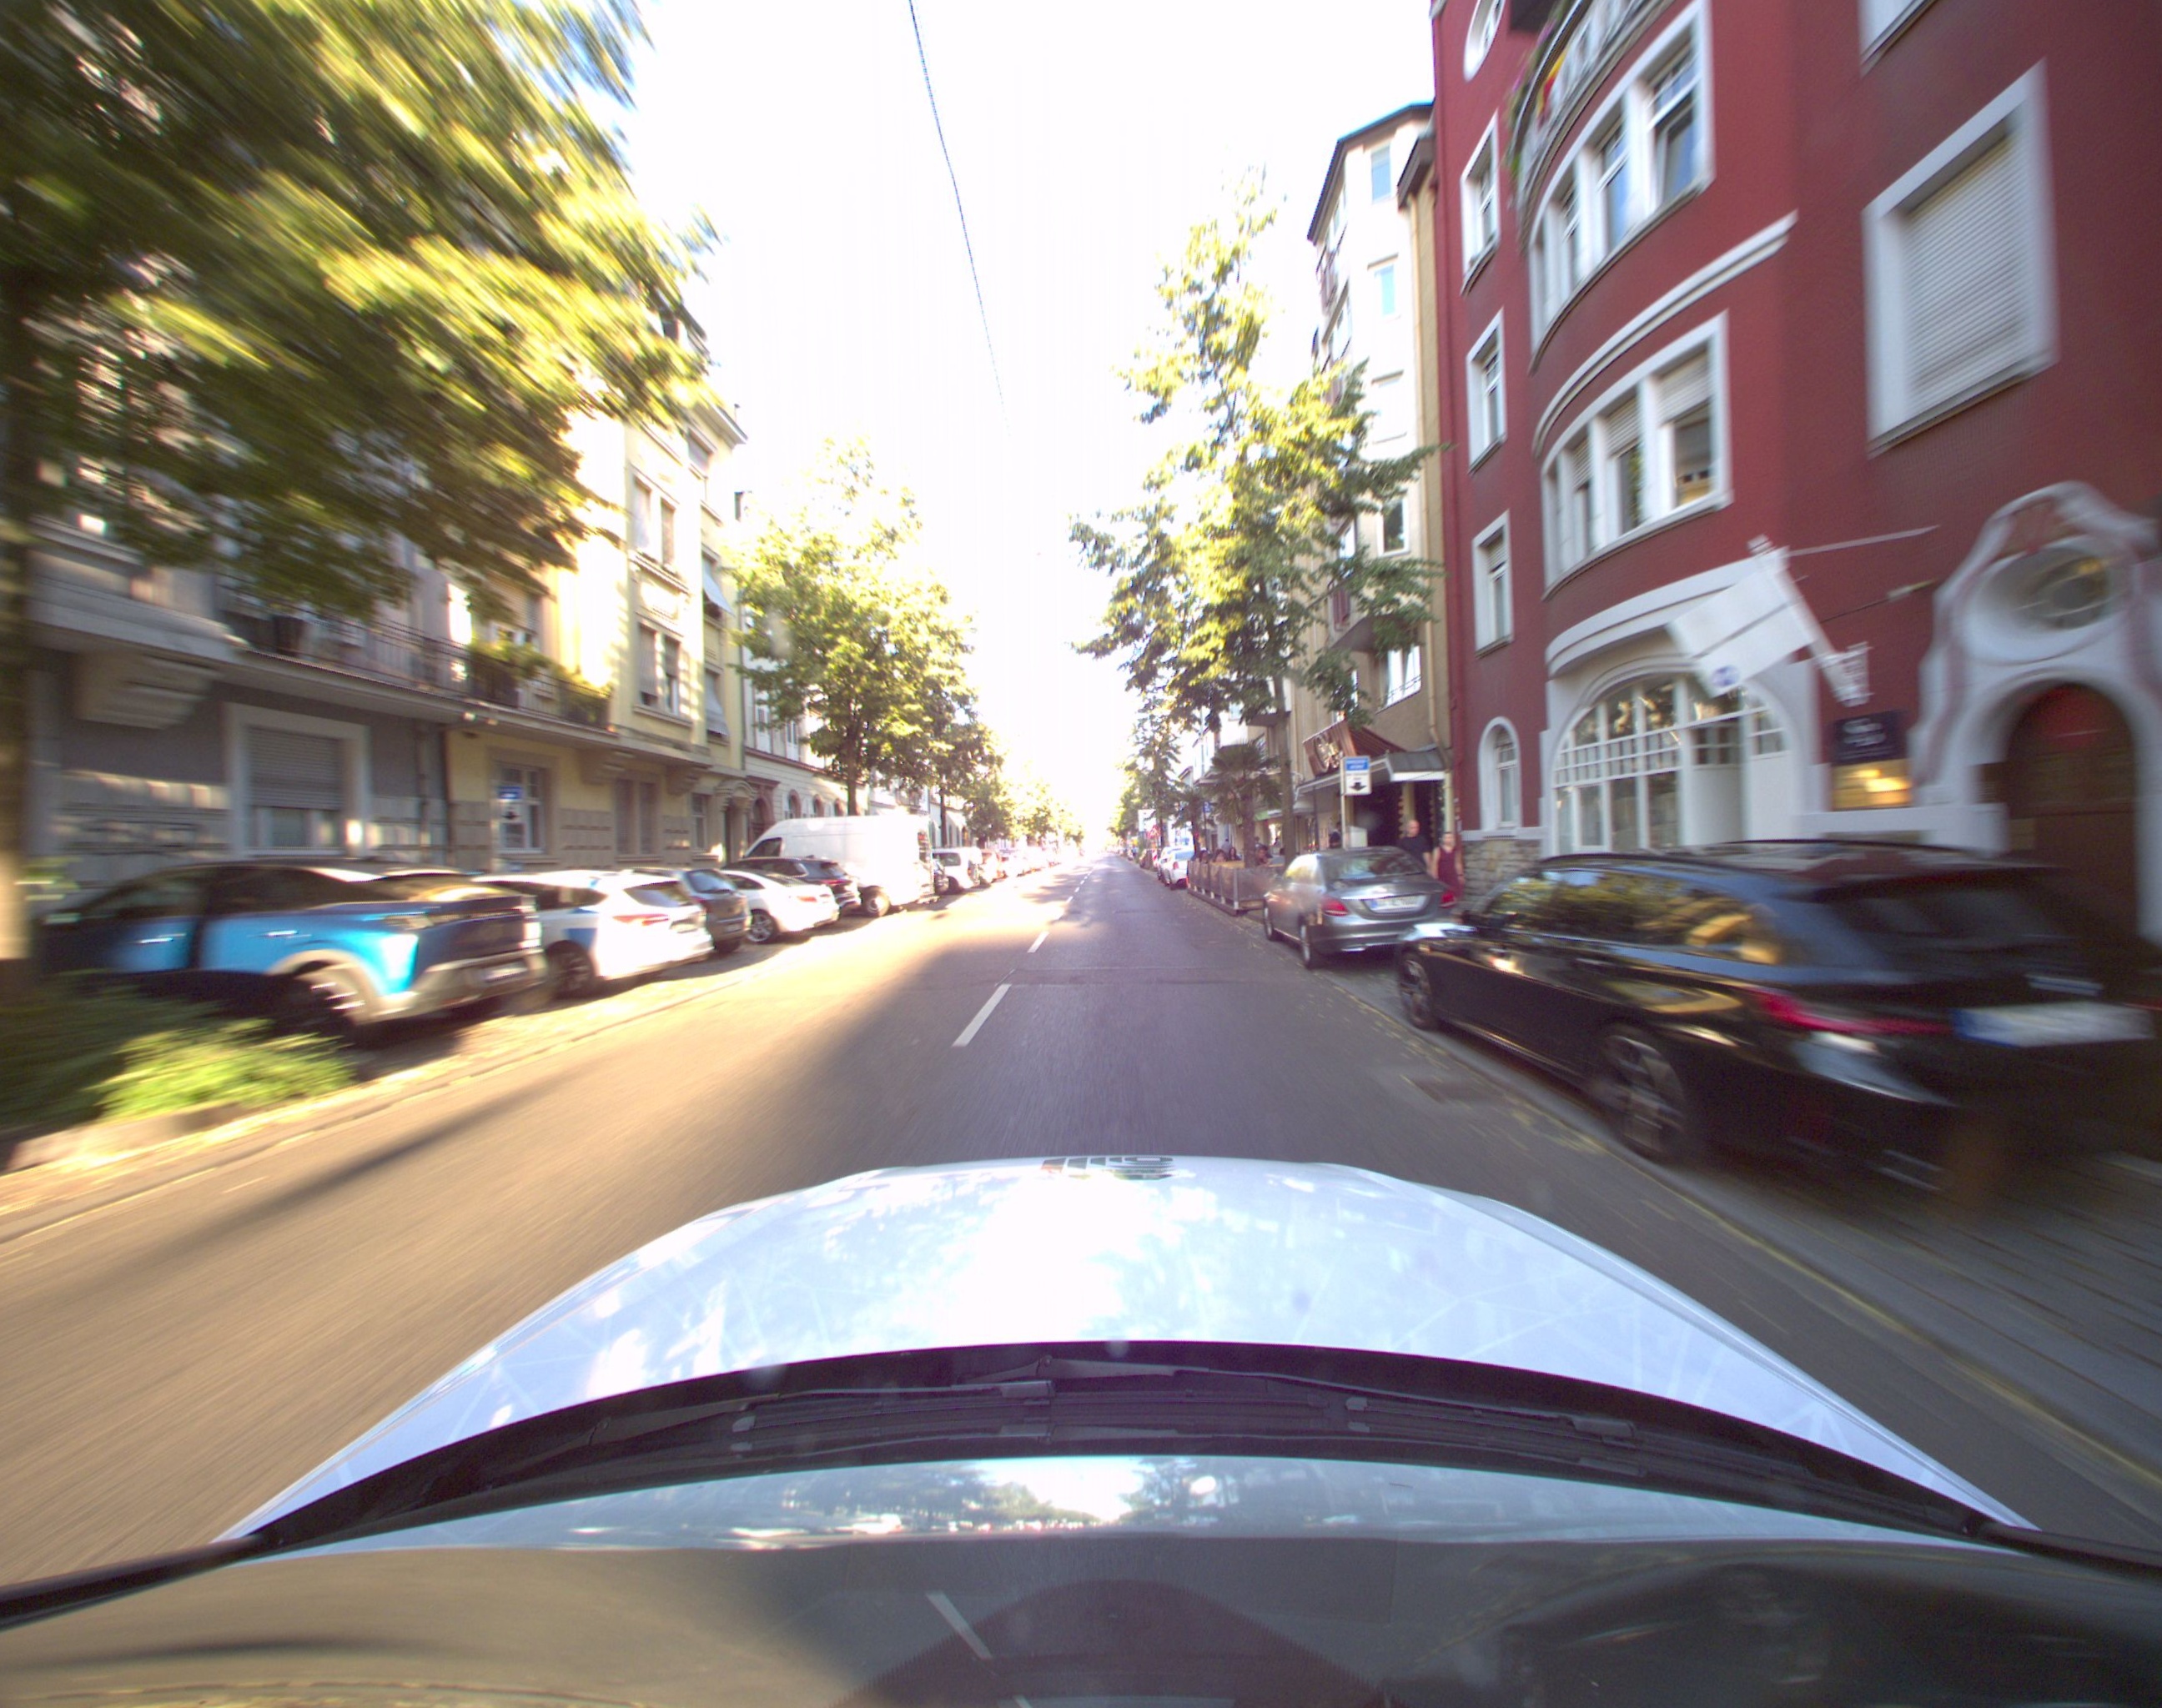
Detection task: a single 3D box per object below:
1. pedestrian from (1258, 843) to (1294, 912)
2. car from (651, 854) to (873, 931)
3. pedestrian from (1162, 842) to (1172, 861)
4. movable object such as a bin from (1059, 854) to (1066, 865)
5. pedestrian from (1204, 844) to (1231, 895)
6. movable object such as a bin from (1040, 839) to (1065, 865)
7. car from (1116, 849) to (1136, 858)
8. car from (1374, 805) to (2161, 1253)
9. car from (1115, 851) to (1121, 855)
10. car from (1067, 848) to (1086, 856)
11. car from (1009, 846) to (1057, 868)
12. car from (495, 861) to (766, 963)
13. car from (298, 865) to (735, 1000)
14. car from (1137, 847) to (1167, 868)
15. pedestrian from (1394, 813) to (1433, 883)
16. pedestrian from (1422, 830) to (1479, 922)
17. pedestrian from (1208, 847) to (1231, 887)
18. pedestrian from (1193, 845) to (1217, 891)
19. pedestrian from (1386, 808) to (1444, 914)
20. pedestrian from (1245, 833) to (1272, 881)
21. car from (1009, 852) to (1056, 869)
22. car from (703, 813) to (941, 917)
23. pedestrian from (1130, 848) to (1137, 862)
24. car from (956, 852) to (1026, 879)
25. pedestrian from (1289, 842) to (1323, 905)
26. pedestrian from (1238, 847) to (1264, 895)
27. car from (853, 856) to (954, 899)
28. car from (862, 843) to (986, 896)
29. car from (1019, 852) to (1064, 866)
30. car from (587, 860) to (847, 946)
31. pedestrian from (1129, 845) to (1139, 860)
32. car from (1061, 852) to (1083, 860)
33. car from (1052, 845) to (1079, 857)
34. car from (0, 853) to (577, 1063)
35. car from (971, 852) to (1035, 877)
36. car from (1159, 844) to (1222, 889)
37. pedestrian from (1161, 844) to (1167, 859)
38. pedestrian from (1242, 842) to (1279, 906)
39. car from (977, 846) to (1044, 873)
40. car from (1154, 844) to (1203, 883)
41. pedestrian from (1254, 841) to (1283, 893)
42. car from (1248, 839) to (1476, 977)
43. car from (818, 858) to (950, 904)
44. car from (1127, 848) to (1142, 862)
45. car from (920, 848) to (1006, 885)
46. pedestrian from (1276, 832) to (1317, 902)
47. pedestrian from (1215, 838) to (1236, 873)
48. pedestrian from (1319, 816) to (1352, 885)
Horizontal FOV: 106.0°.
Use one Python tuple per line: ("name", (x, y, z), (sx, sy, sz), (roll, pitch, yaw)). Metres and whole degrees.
("pedestrian", (4.336, 0.507, 18.106), (0.575, 1.462, 0.603), (-4, 0, 2))
("car", (-7.090, 0.826, 18.432), (4.196, 1.600, 1.977), (-1, 0, 2))
("pedestrian", (8.959, -0.271, 84.636), (0.820, 1.854, 1.097), (-4, 0, 0))
("movable object such as a bin", (-2.056, 0.613, 90.492), (0.687, 1.105, 0.884), (-3, 0, 3))
("pedestrian", (3.843, 0.443, 22.986), (0.575, 1.384, 0.603), (-4, 0, 2))
("movable object such as a bin", (-3.320, -0.256, 96.502), (2.615, 2.969, 5.305), (-2, 0, 2))
("car", (8.920, -0.069, 161.243), (1.654, 1.588, 3.846), (-1, 0, 44))
("car", (3.517, 0.598, 5.083), (1.768, 1.470, 4.419), (-4, 0, 1))
("car", (10.939, -0.278, 240.844), (1.507, 1.276, 3.306), (-1, 0, 3))
("car", (-1.028, -0.560, 191.157), (4.425, 1.759, 1.920), (-1, 0, 2))
("car", (-4.652, 0.291, 80.087), (4.466, 1.976, 2.069), (-1, 0, 2))
("car", (-7.239, 0.893, 13.322), (3.391, 1.510, 1.849), (-1, 0, 5))
("car", (-6.956, 0.921, 10.411), (4.172, 1.482, 1.970), (-1, 0, 0))
("car", (5.459, 0.238, 63.285), (1.823, 1.488, 4.849), (-4, 0, 0))
("pedestrian", (9.293, -0.175, 22.771), (0.794, 1.883, 0.881), (-3, 1, 11))
("pedestrian", (6.245, 0.359, 13.784), (0.622, 1.488, 0.641), (-3, 0, 2))
("pedestrian", (4.476, 0.406, 26.262), (0.575, 1.244, 0.603), (-4, 0, 2))
("pedestrian", (3.754, 0.422, 24.685), (0.575, 1.319, 0.704), (-4, 0, 2))
("pedestrian", (5.525, 0.112, 13.497), (0.622, 1.677, 0.641), (-3, 0, 2))
("pedestrian", (6.499, 0.106, 29.877), (0.785, 1.704, 0.701), (-3, 0, 1))
("car", (-4.510, 0.579, 75.934), (4.317, 1.501, 1.840), (-1, 0, -4))
("car", (-6.816, 0.273, 21.896), (5.637, 2.621, 2.172), (-1, 0, 1))
("pedestrian", (6.511, 0.101, 101.590), (0.677, 1.754, 0.823), (-2, 0, -9))
("car", (-5.442, 0.695, 49.825), (4.046, 1.461, 1.685), (-2, 0, -1))
("pedestrian", (4.903, 0.420, 17.773), (0.545, 1.345, 0.438), (-4, 0, 2))
("pedestrian", (5.096, 0.490, 24.394), (0.575, 1.384, 0.603), (-4, 0, 2))
("car", (-6.496, 0.835, 30.014), (3.360, 1.467, 1.712), (-1, 0, -2))
("car", (-6.205, 0.594, 32.513), (4.480, 1.953, 1.921), (-1, 0, 3))
("car", (-4.251, 0.513, 88.517), (4.573, 1.470, 1.895), (-1, 0, 4))
("car", (-6.908, 0.898, 15.764), (4.197, 1.506, 1.793), (-1, 0, 1))
("pedestrian", (6.422, -0.174, 99.012), (1.013, 1.825, 0.778), (-4, 0, -8))
("car", (-1.887, 0.423, 167.254), (4.425, 1.568, 1.920), (-1, 0, 2))
("car", (-2.712, -0.547, 142.918), (4.555, 1.962, 1.991), (-1, 0, 1))
("car", (-7.419, 0.841, 7.569), (4.220, 1.650, 1.891), (-1, 0, -3))
("car", (-5.208, 0.683, 54.795), (4.023, 1.483, 1.963), (-2, 0, 1))
("car", (4.250, 0.444, 32.386), (1.835, 1.480, 5.192), (-4, 0, 2))
("pedestrian", (10.498, -0.260, 102.799), (0.460, 1.875, 0.499), (-3, 0, -13))
("pedestrian", (4.351, 0.463, 19.782), (0.629, 1.485, 0.795), (-4, 0, 2))
("car", (-5.384, 0.426, 62.456), (4.852, 1.908, 1.974), (-2, 0, 1))
("car", (4.537, 0.410, 38.510), (1.872, 1.574, 4.694), (-4, 0, 2))
("pedestrian", (5.218, 0.350, 22.734), (0.575, 1.384, 0.718), (-4, 0, 2))
("car", (3.700, 0.600, 11.746), (1.767, 1.440, 5.005), (-4, 0, 4))
("car", (-6.514, 0.895, 27.234), (3.974, 1.404, 1.749), (-1, -1, 0))
("car", (6.917, 0.118, 104.823), (1.680, 1.575, 4.015), (-4, 0, 2))
("car", (-6.146, 0.633, 42.763), (4.120, 1.806, 1.808), (-2, 0, 3))
("pedestrian", (5.212, 0.305, 19.745), (0.705, 1.598, 0.795), (-4, 0, 2))
("pedestrian", (7.540, 0.067, 42.557), (0.853, 1.794, 0.996), (-3, 0, -2))
("pedestrian", (7.188, -0.104, 22.986), (0.792, 1.883, 0.882), (-3, 1, 19))
